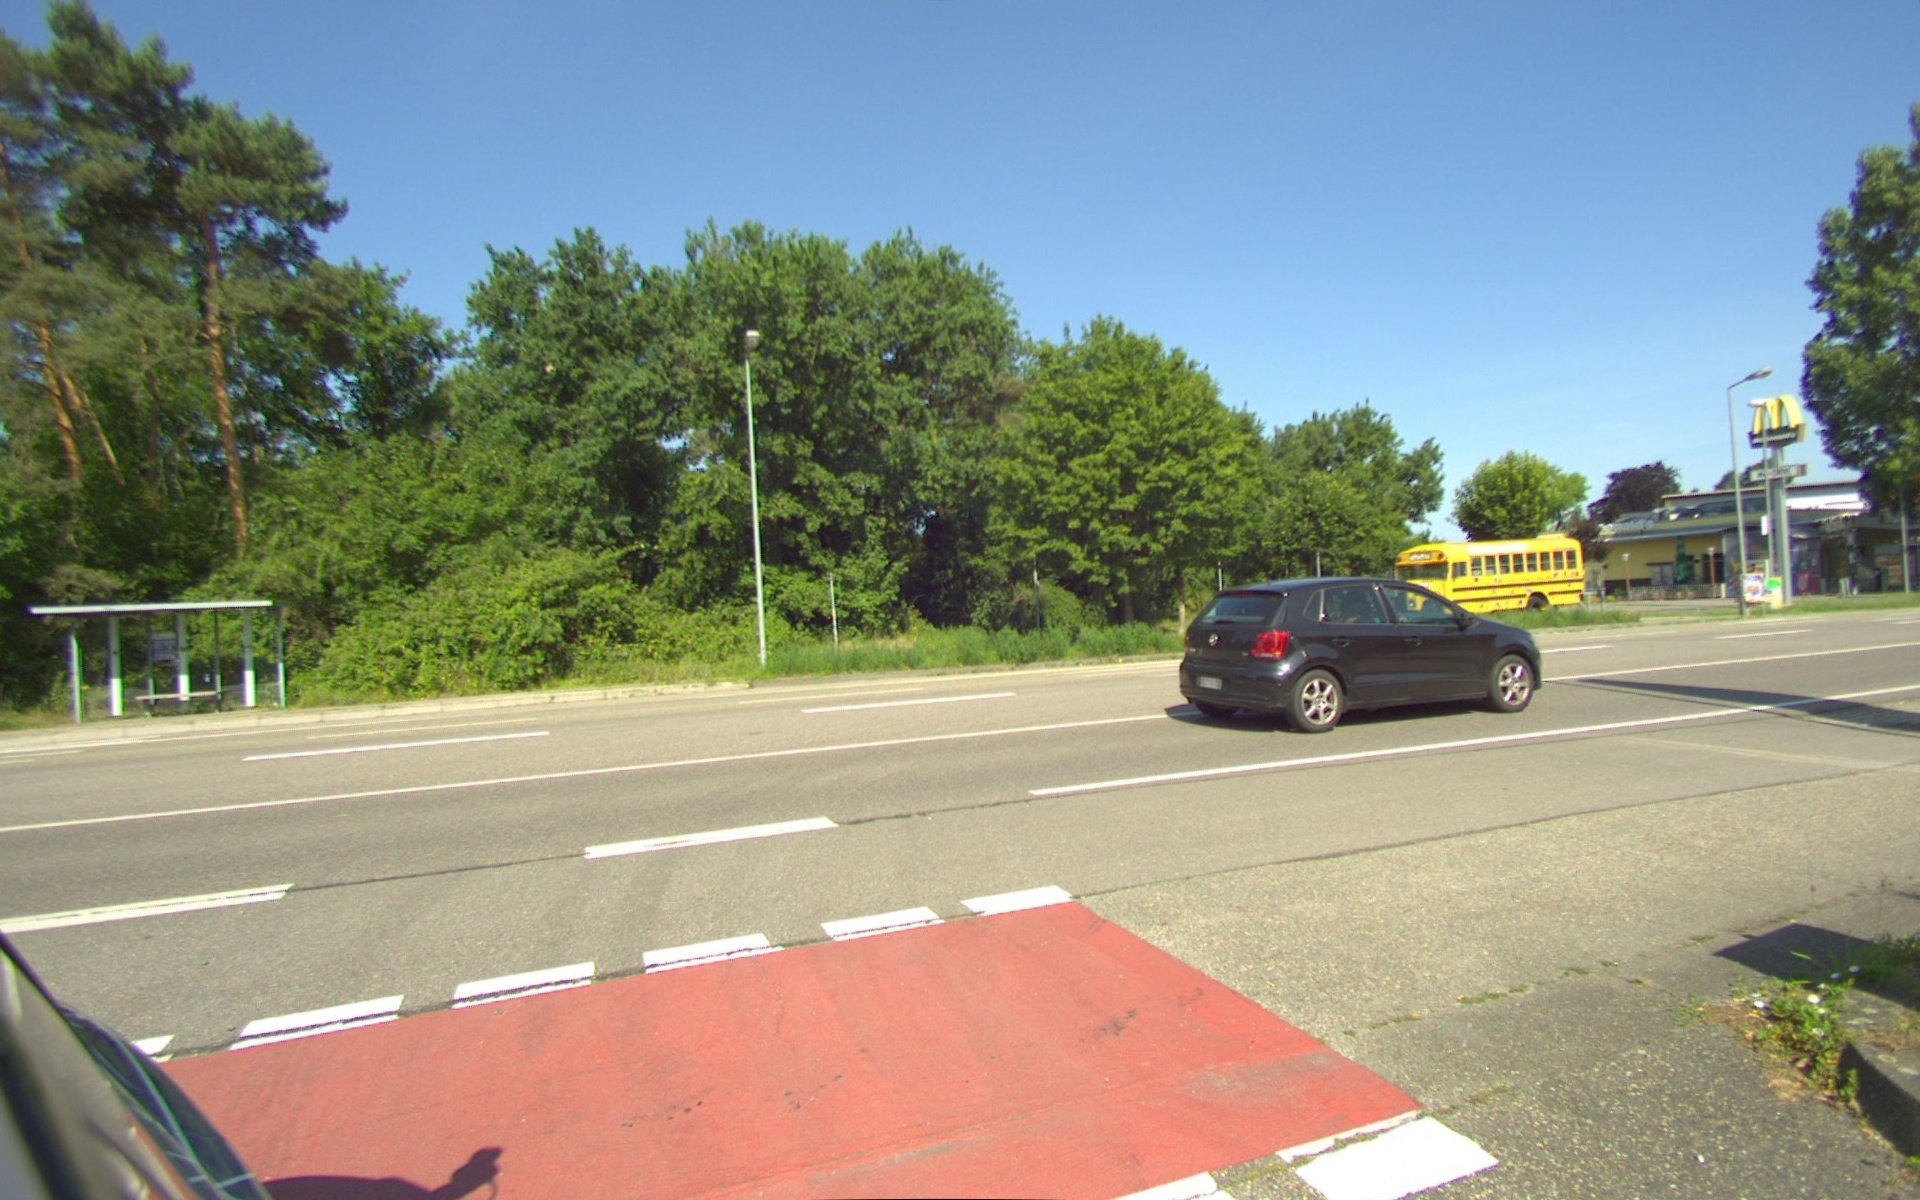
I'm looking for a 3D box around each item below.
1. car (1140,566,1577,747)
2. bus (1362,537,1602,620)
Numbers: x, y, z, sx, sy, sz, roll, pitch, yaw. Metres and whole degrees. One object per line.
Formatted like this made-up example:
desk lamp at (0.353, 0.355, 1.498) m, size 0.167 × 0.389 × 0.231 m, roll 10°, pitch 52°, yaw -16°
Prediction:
car at (3.995, 0.460, 10.168) m, size 3.985 × 1.441 × 1.657 m, roll -3°, pitch 1°, yaw -21°
bus at (18.807, -0.797, 36.338) m, size 8.841 × 2.699 × 2.596 m, roll -2°, pitch 0°, yaw -24°
